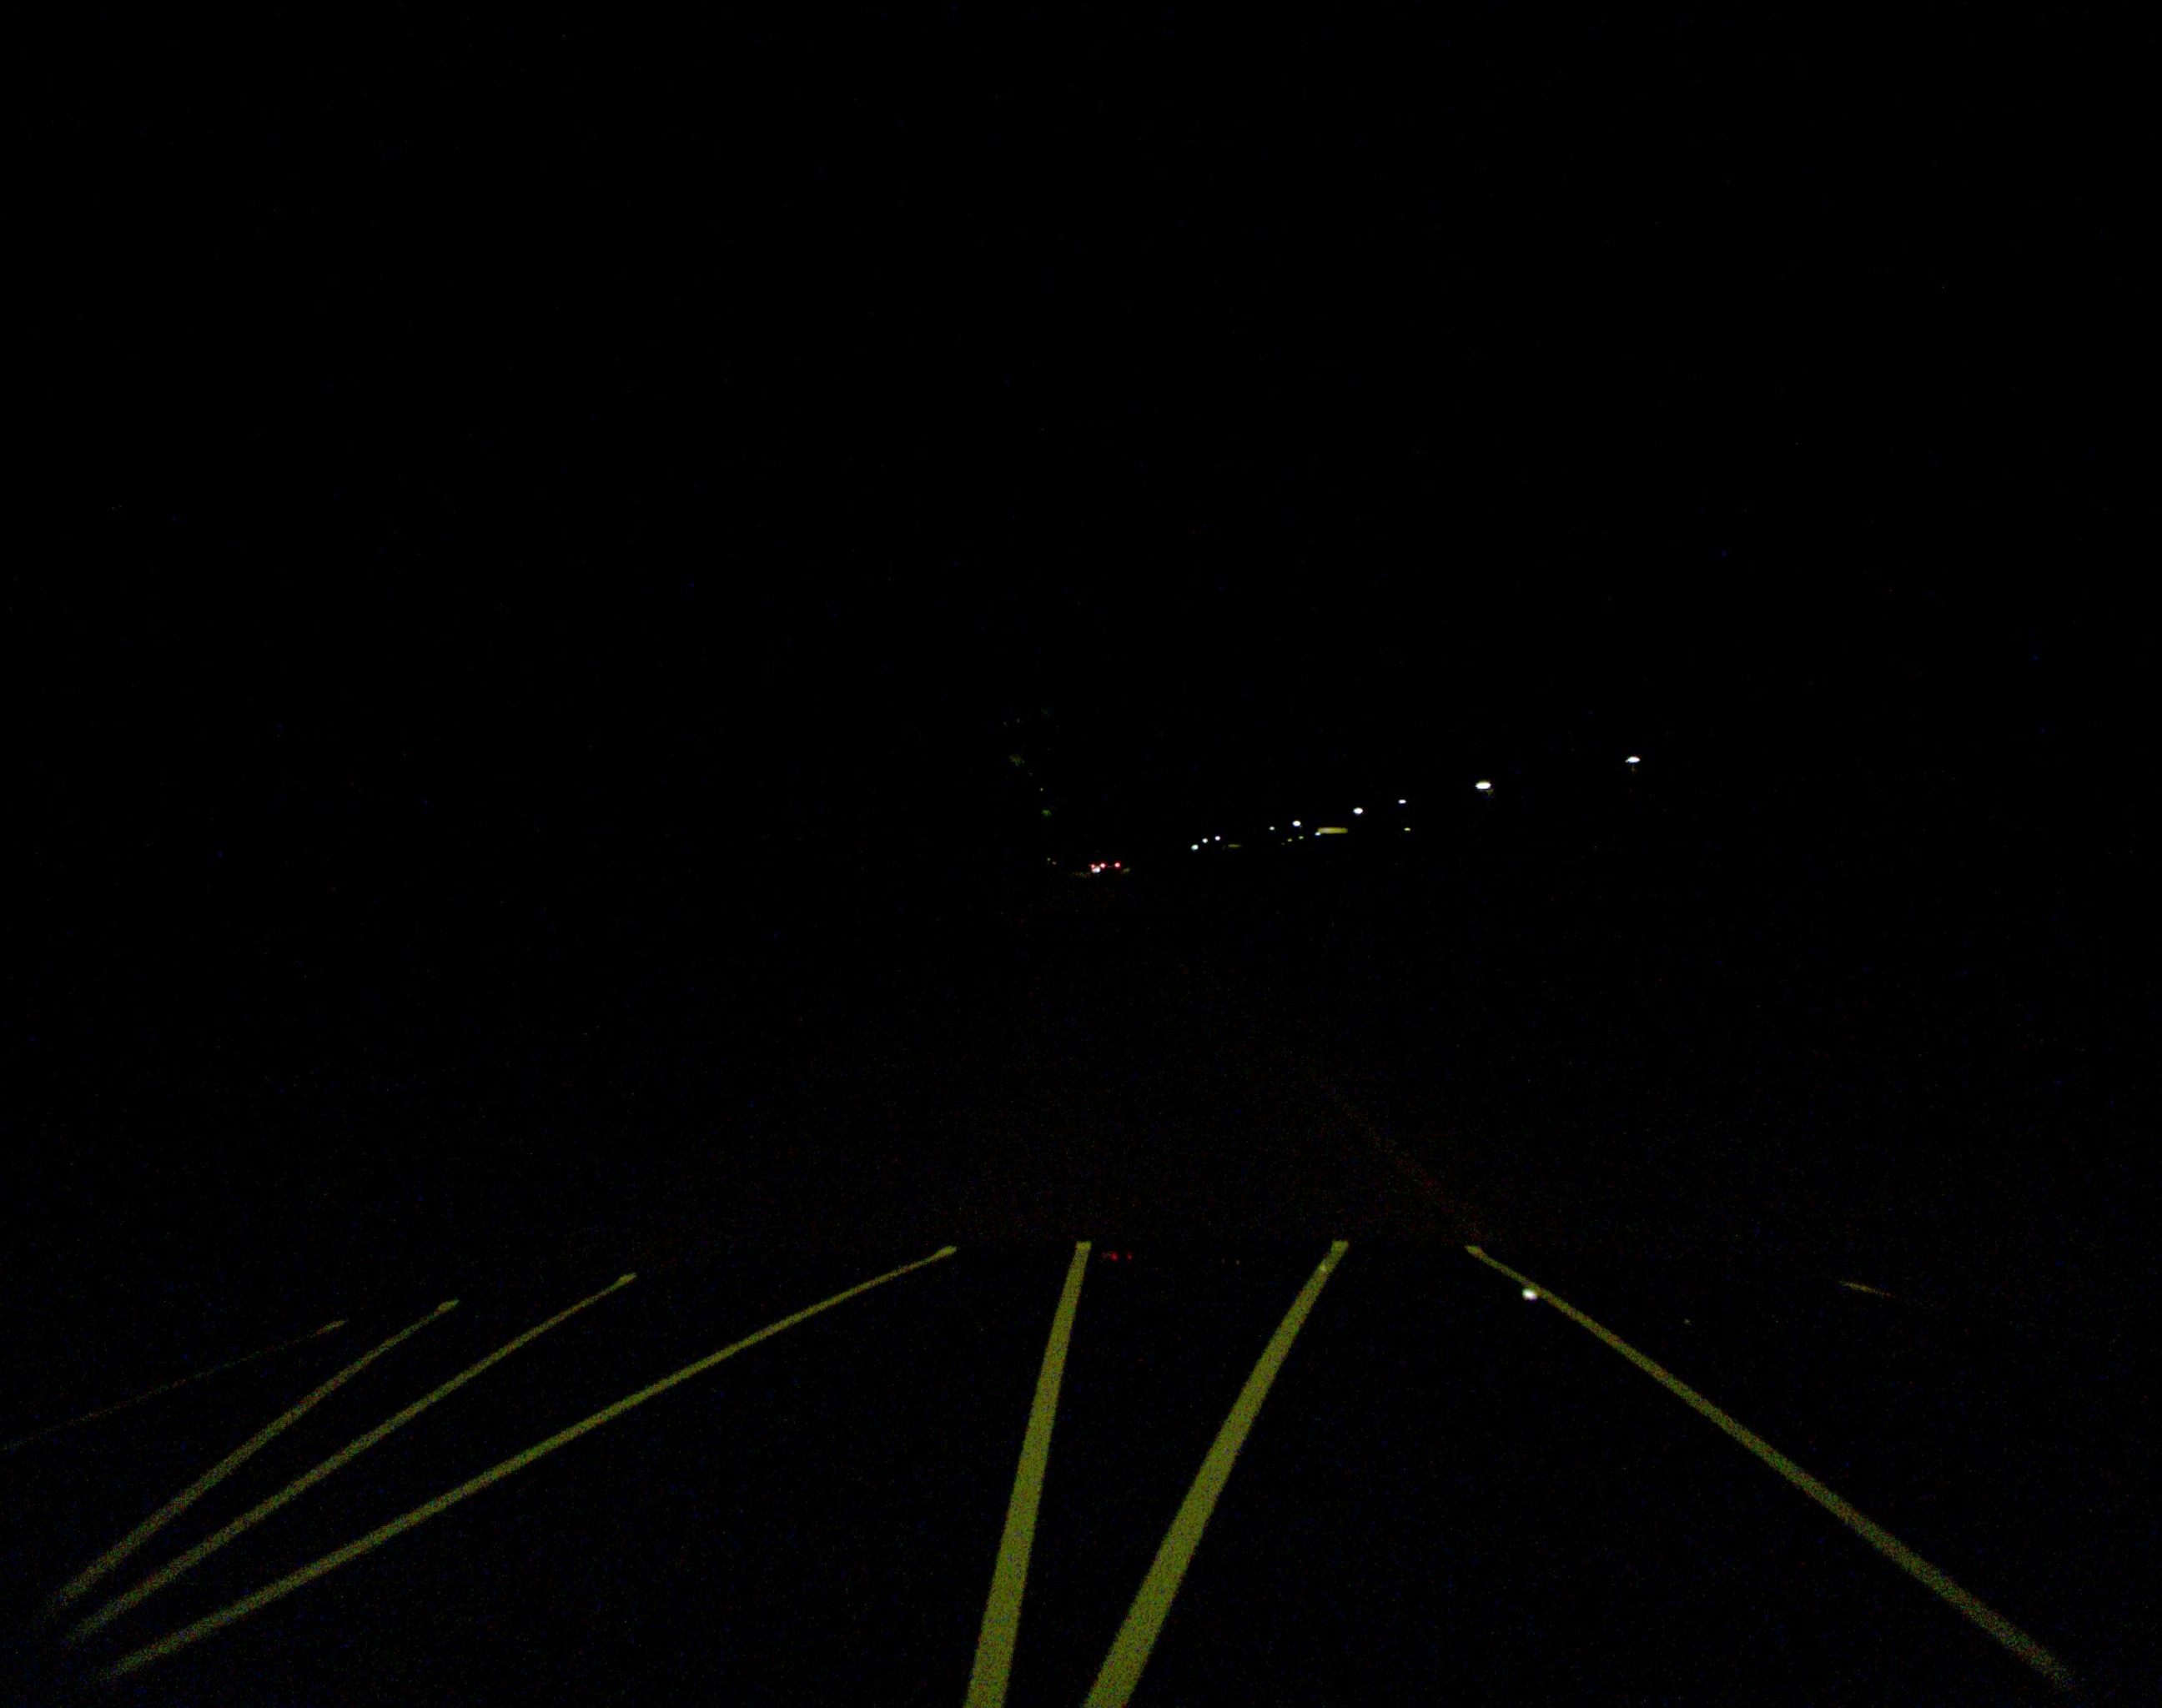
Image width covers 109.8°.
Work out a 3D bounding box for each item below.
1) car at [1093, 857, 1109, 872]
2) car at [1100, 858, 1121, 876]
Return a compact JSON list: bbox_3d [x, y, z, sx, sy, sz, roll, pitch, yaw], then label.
[{"bbox_3d":[2.172,1.149,84.466,1.691,1.449,4.000,-2,0,1],"label":"car"},{"bbox_3d":[2.642,1.147,67.671,1.651,1.483,3.557,-2,0,-1],"label":"car"}]
